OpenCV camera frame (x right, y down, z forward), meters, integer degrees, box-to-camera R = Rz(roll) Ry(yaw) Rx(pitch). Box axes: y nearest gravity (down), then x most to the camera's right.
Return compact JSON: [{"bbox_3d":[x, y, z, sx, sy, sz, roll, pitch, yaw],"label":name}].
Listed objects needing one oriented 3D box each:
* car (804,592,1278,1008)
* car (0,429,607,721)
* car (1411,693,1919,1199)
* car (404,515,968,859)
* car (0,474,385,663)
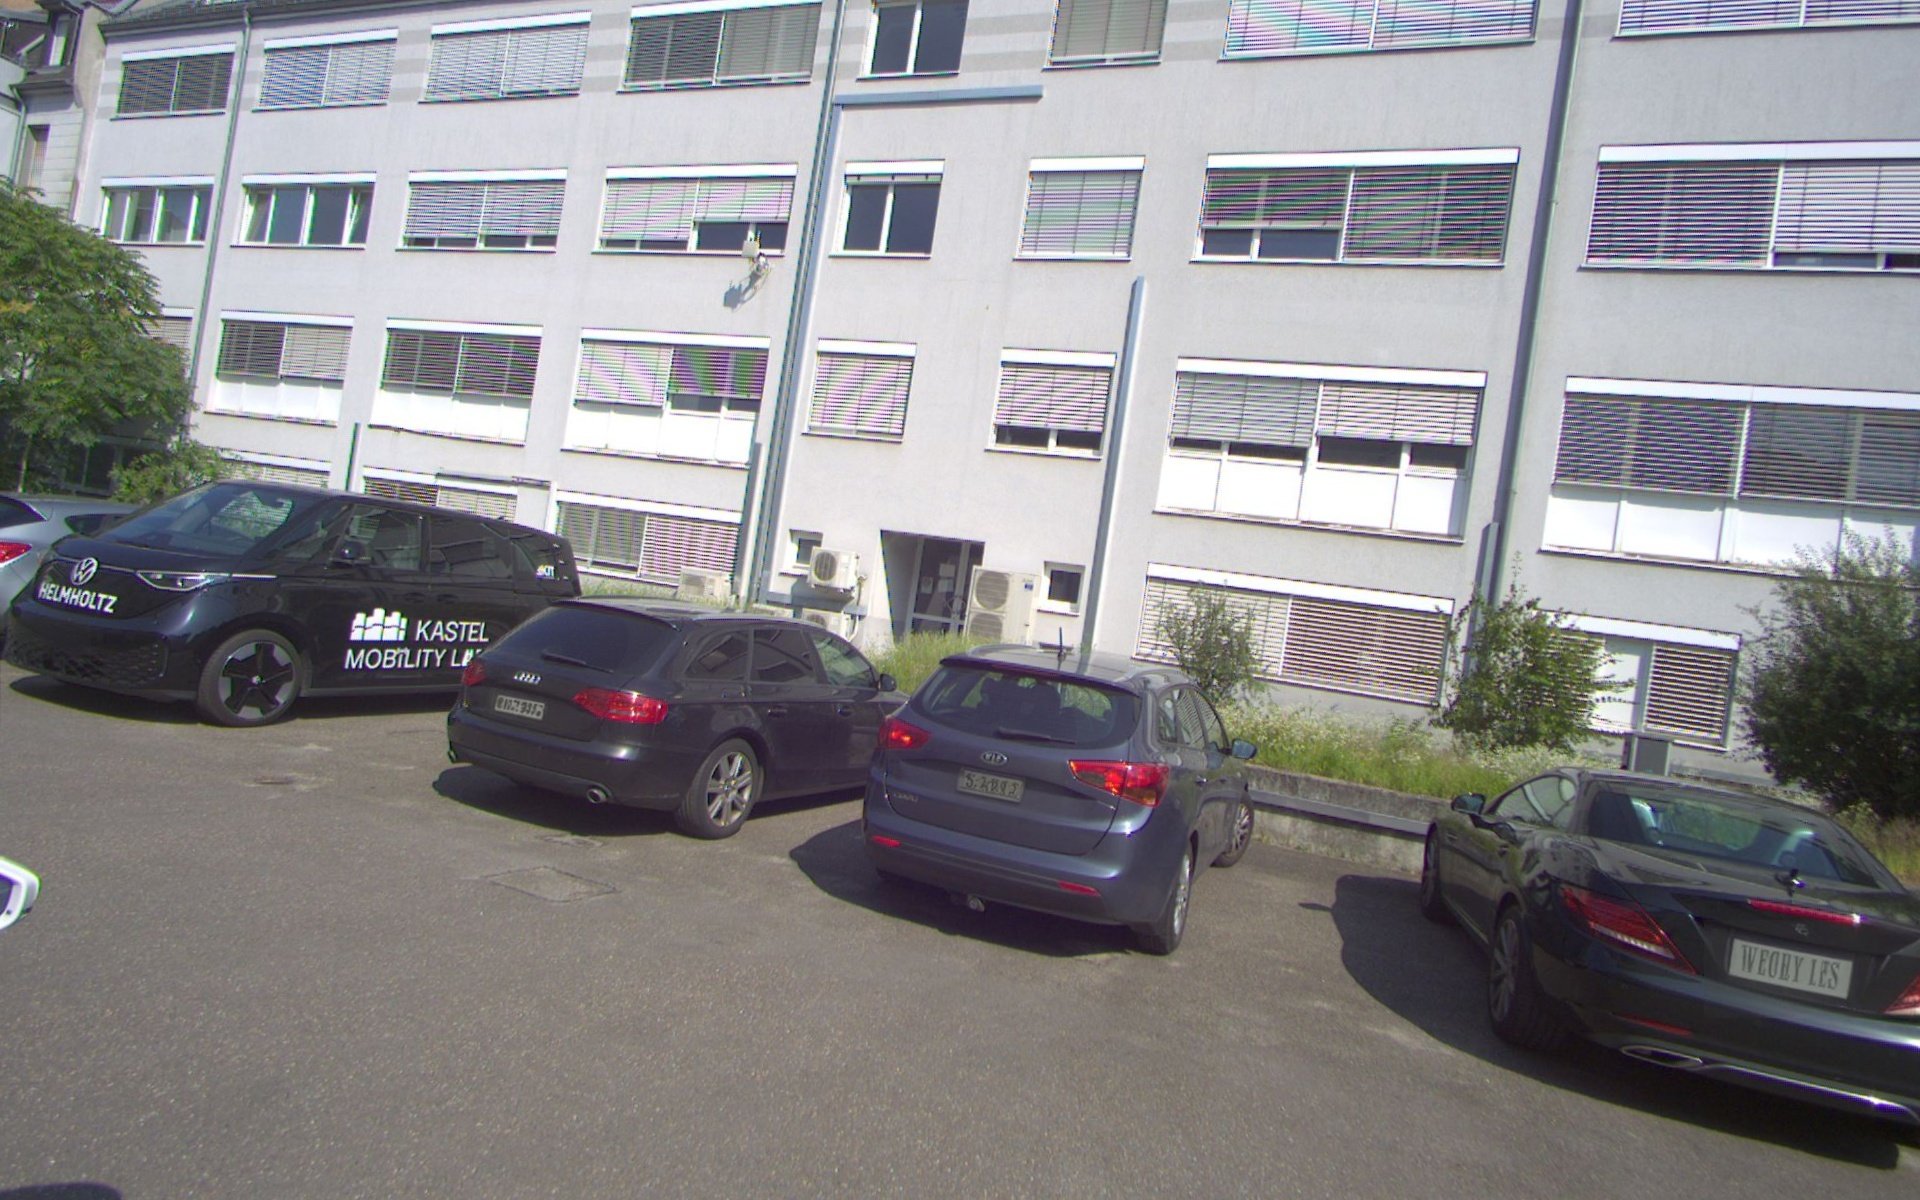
[{"bbox_3d":[0.873,1.049,6.544,1.845,1.606,3.878,8,-2,22],"label":"car"},{"bbox_3d":[-5.498,-0.061,9.055,1.848,1.815,4.519,7,-2,18],"label":"car"},{"bbox_3d":[3.819,1.459,5.450,1.862,1.606,3.816,8,-2,17],"label":"car"},{"bbox_3d":[-1.646,0.632,7.636,1.739,1.710,4.132,8,-2,24],"label":"car"},{"bbox_3d":[-8.170,-0.260,10.049,1.741,1.499,3.948,7,-2,18],"label":"car"}]
